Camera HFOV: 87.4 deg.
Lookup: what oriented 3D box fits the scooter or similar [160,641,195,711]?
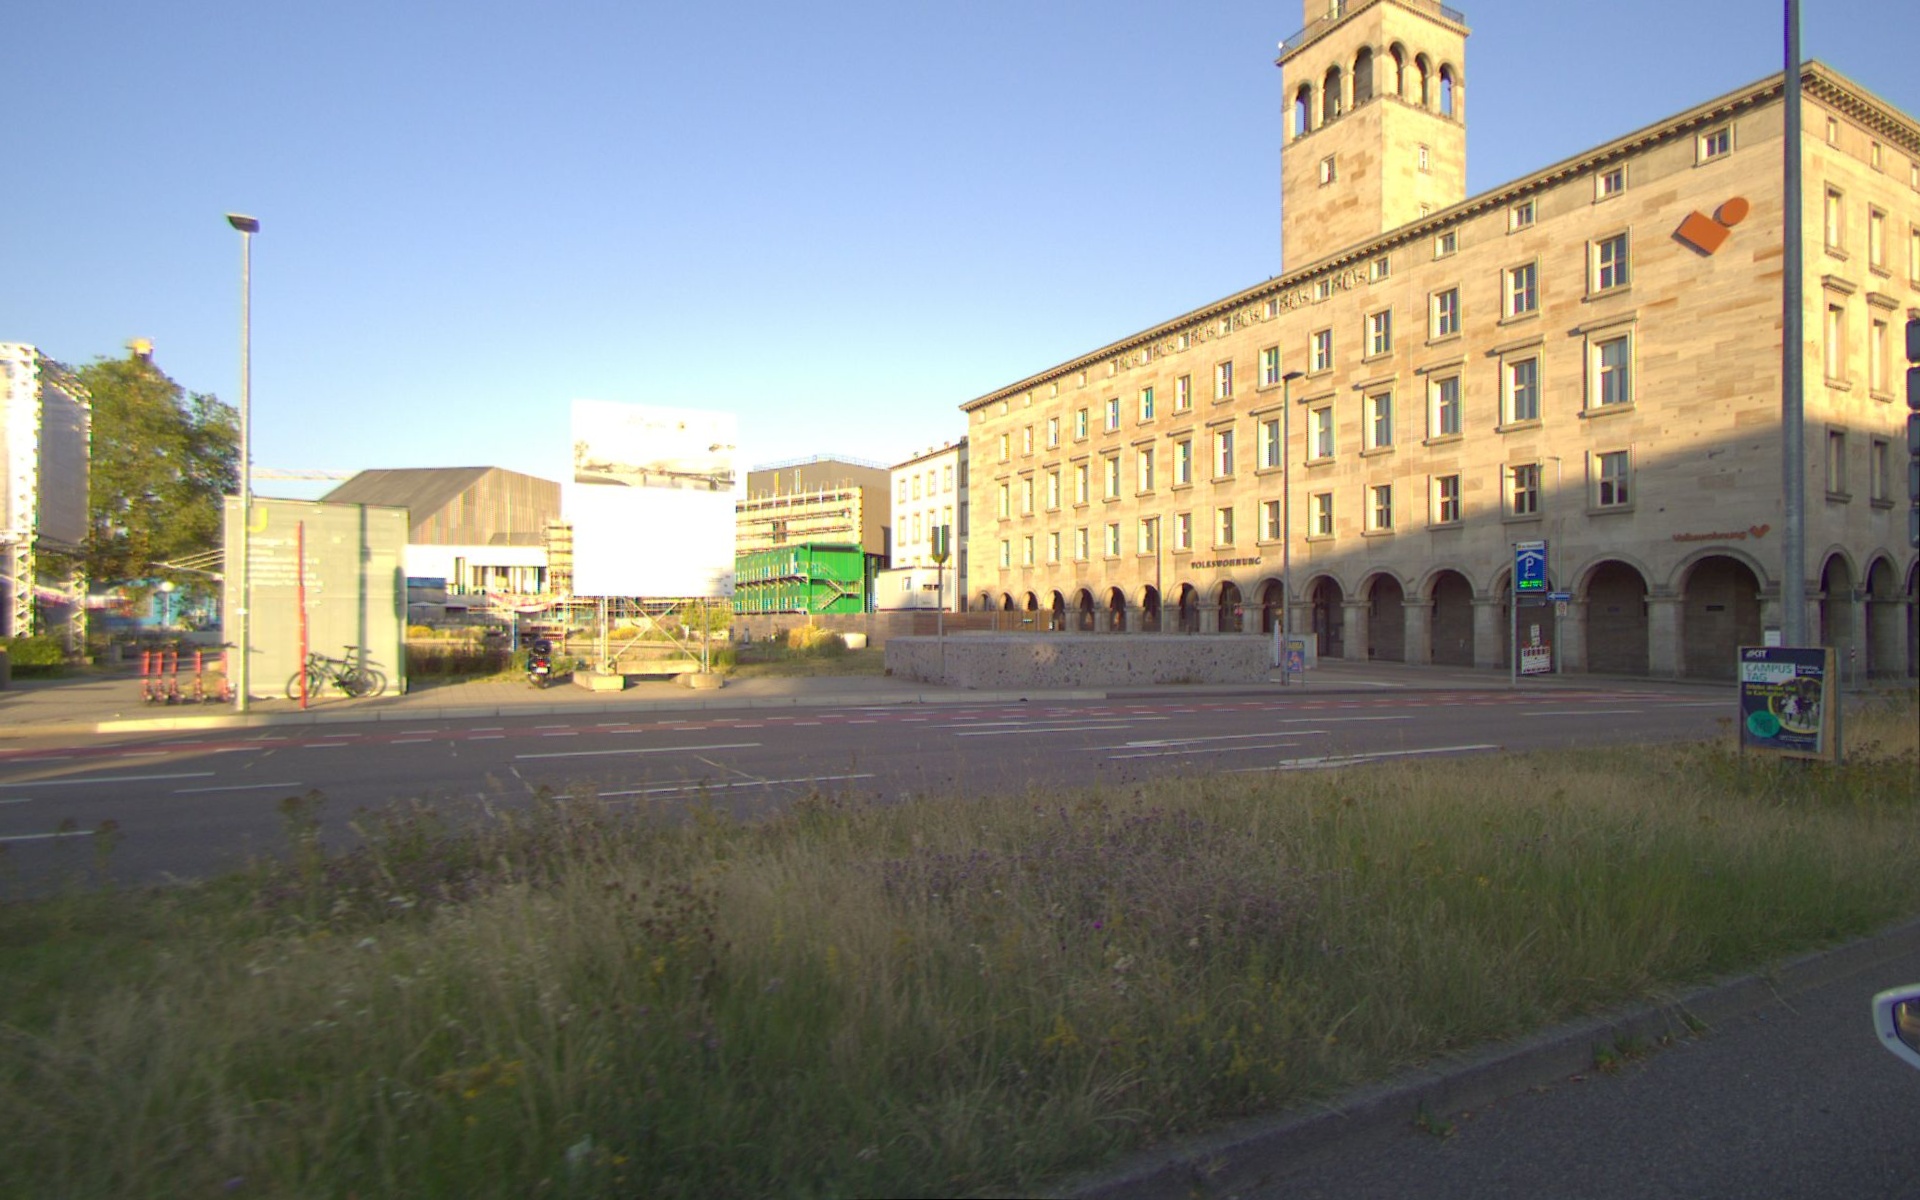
[{"bbox_3d":[-15.674,1.493,20.131,0.413,1.322,1.776,1,-2,-34],"label":"scooter or similar"}]

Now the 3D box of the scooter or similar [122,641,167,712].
[{"bbox_3d":[-16.074,1.475,19.823,0.495,1.322,1.846,1,-2,-34],"label":"scooter or similar"}]

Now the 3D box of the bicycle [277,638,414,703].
[{"bbox_3d":[-13.273,1.509,21.769,2.481,1.341,0.614,1,-2,-31],"label":"bicycle"}]

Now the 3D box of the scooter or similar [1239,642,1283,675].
[{"bbox_3d":[11.531,2.234,38.476,1.545,1.240,0.543,-1,-2,43],"label":"scooter or similar"}]

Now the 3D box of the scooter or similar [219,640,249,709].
[{"bbox_3d":[-14.912,1.501,20.643,0.419,1.322,1.824,1,-2,-34],"label":"scooter or similar"}]

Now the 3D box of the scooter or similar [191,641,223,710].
[{"bbox_3d":[-15.274,1.498,20.395,0.419,1.322,1.819,1,-2,-34],"label":"scooter or similar"}]

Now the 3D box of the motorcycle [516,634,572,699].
[{"bbox_3d":[-10.151,1.566,24.452,0.830,1.401,3.217,1,0,-30],"label":"motorcycle"}]
